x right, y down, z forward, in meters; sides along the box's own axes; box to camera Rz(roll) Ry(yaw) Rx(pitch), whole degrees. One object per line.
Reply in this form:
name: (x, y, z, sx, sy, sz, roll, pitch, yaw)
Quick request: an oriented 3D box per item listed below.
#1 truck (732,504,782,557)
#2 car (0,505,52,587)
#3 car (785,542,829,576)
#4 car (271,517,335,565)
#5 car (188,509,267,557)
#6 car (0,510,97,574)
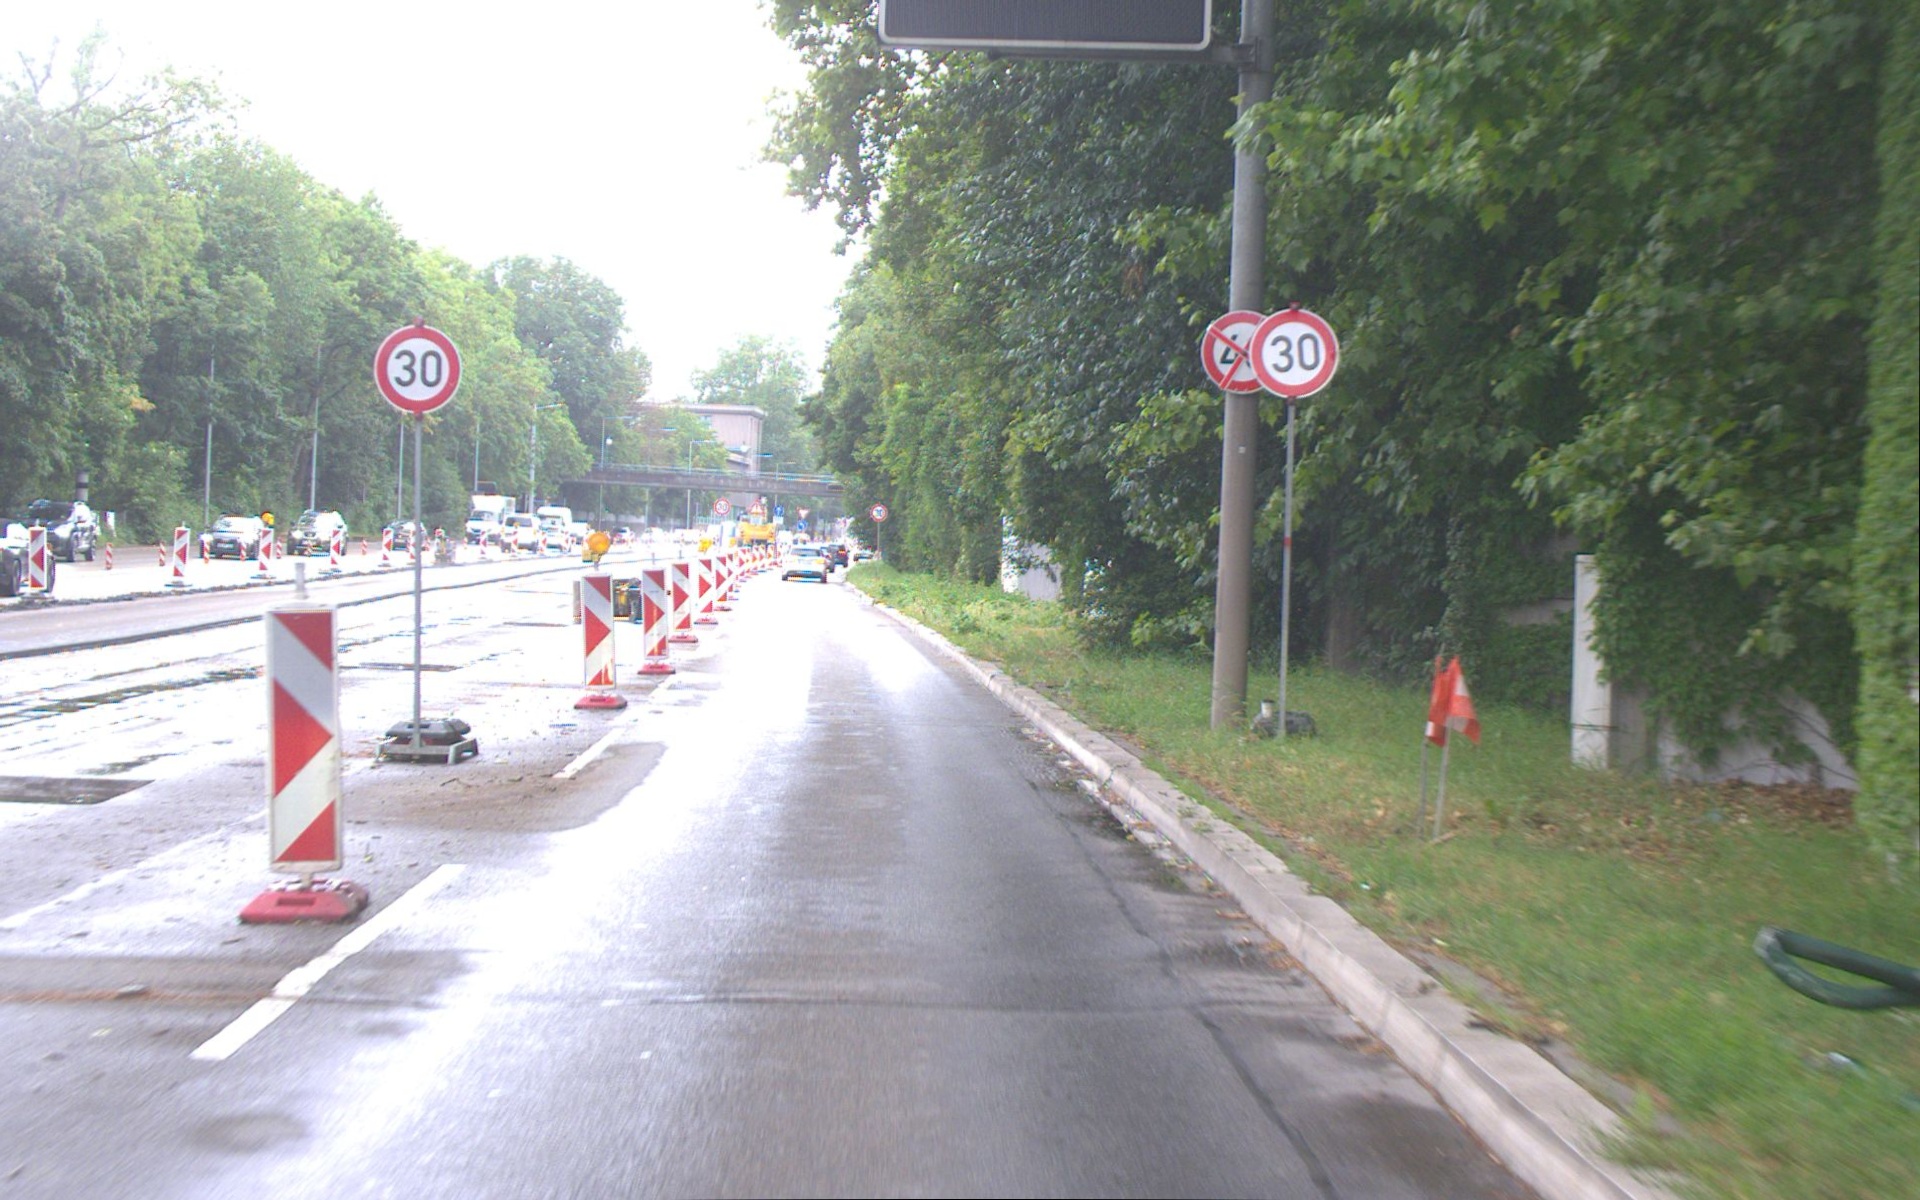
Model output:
truck: (-14.282, -4.905, 242.957, 3.259, 3.485, 13.872, 2, 1, -3)
car: (-17.621, -1.011, 61.857, 1.607, 1.399, 4.041, 2, 1, -3)
car: (-6.094, -1.637, 136.882, 1.697, 1.331, 3.491, 0, 1, -2)
car: (-24.889, -2.219, 130.348, 1.734, 1.716, 4.494, 2, 1, -3)
car: (-24.038, -2.202, 112.949, 1.760, 1.478, 4.901, 2, 1, -4)
car: (-25.407, -1.631, 95.847, 1.653, 1.679, 4.534, 3, 1, -3)
